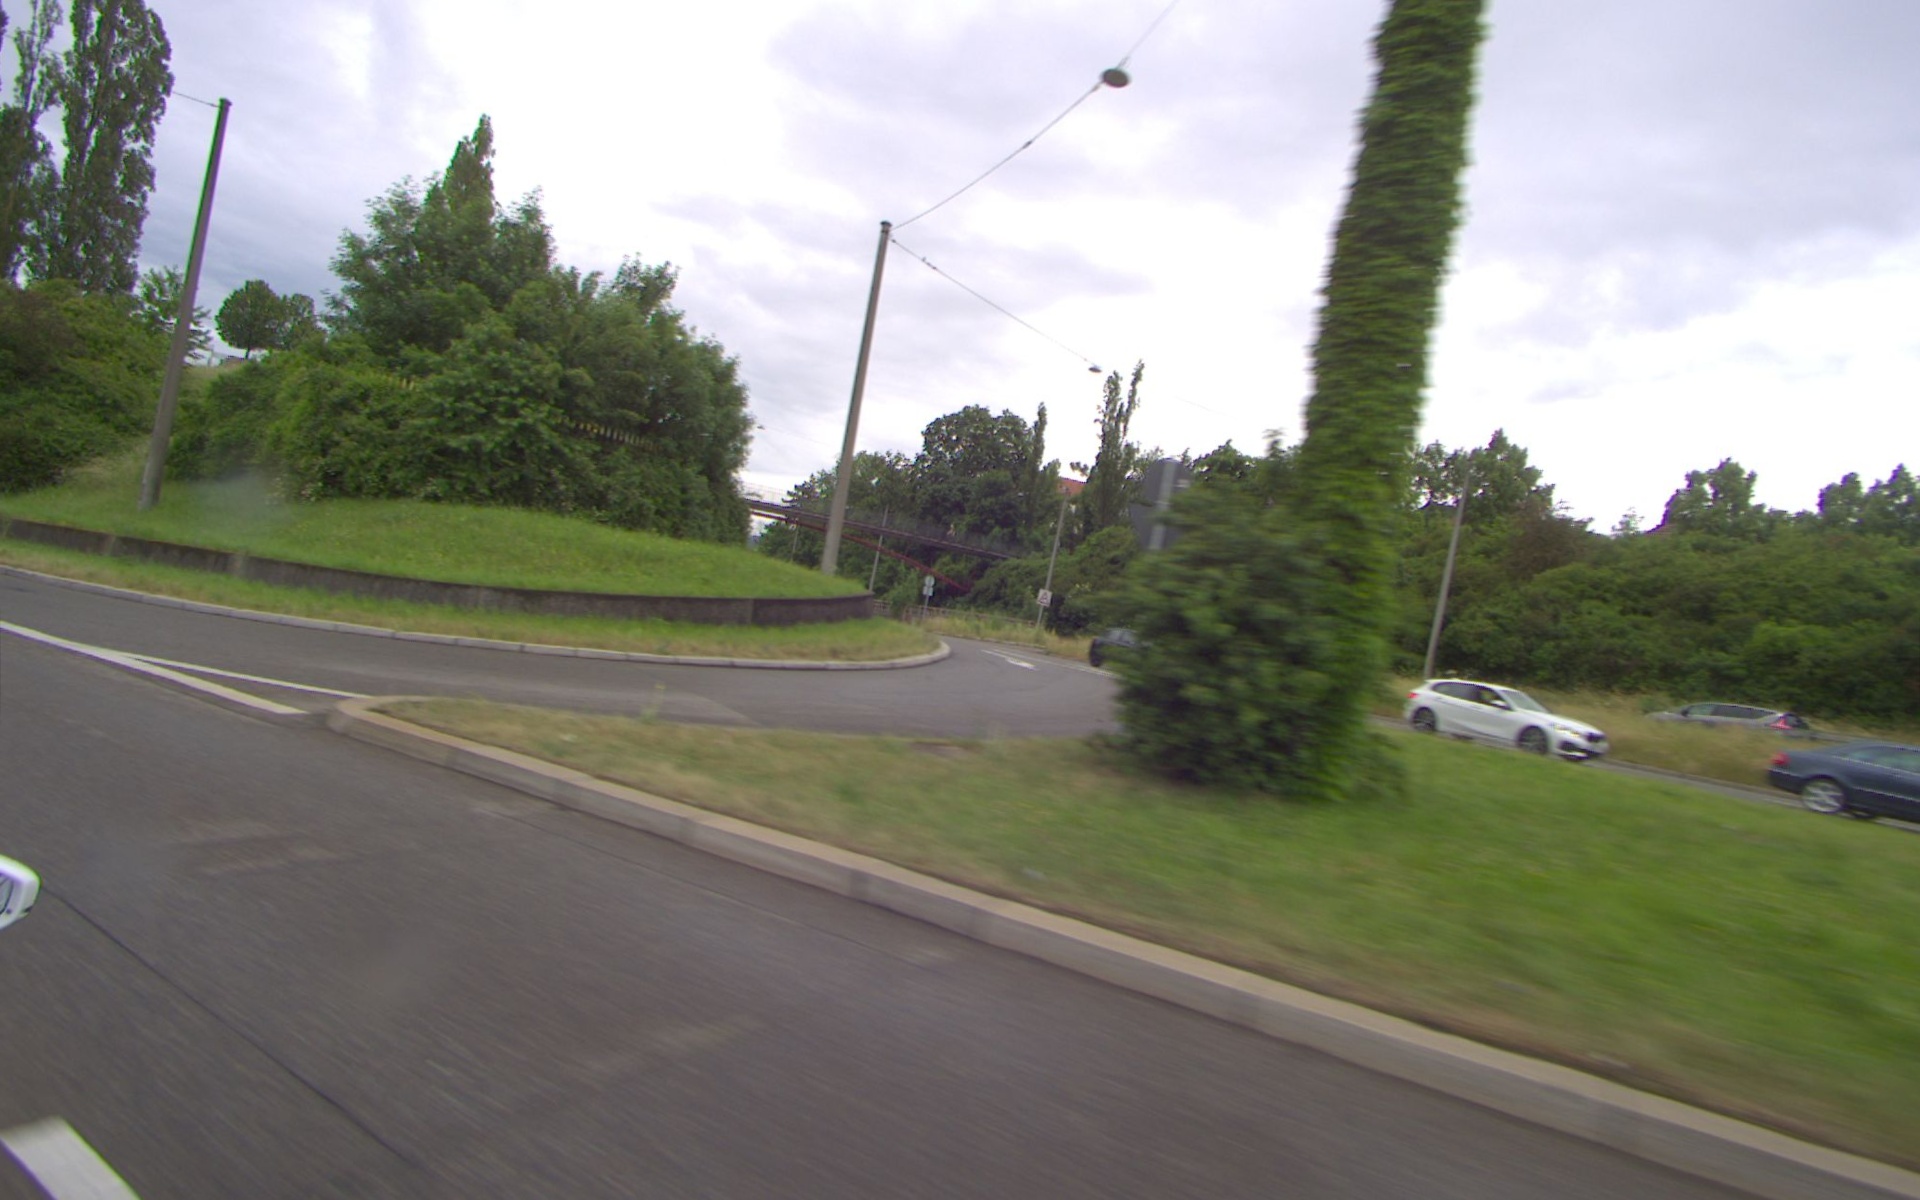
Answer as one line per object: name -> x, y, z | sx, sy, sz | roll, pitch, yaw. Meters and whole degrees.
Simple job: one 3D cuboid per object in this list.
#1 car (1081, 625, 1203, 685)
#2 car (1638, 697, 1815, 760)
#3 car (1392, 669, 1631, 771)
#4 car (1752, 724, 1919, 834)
car -> 5.922, 1.774, 33.149 | 1.659, 1.430, 3.886 | 9, -2, -31
car -> 25.141, 4.189, 33.170 | 1.763, 1.364, 4.204 | 11, -4, -25
car -> 12.519, 2.695, 23.114 | 2.055, 1.445, 4.235 | 9, 0, -31
car -> 16.051, 3.161, 16.372 | 1.821, 1.367, 4.526 | 9, -1, -24
